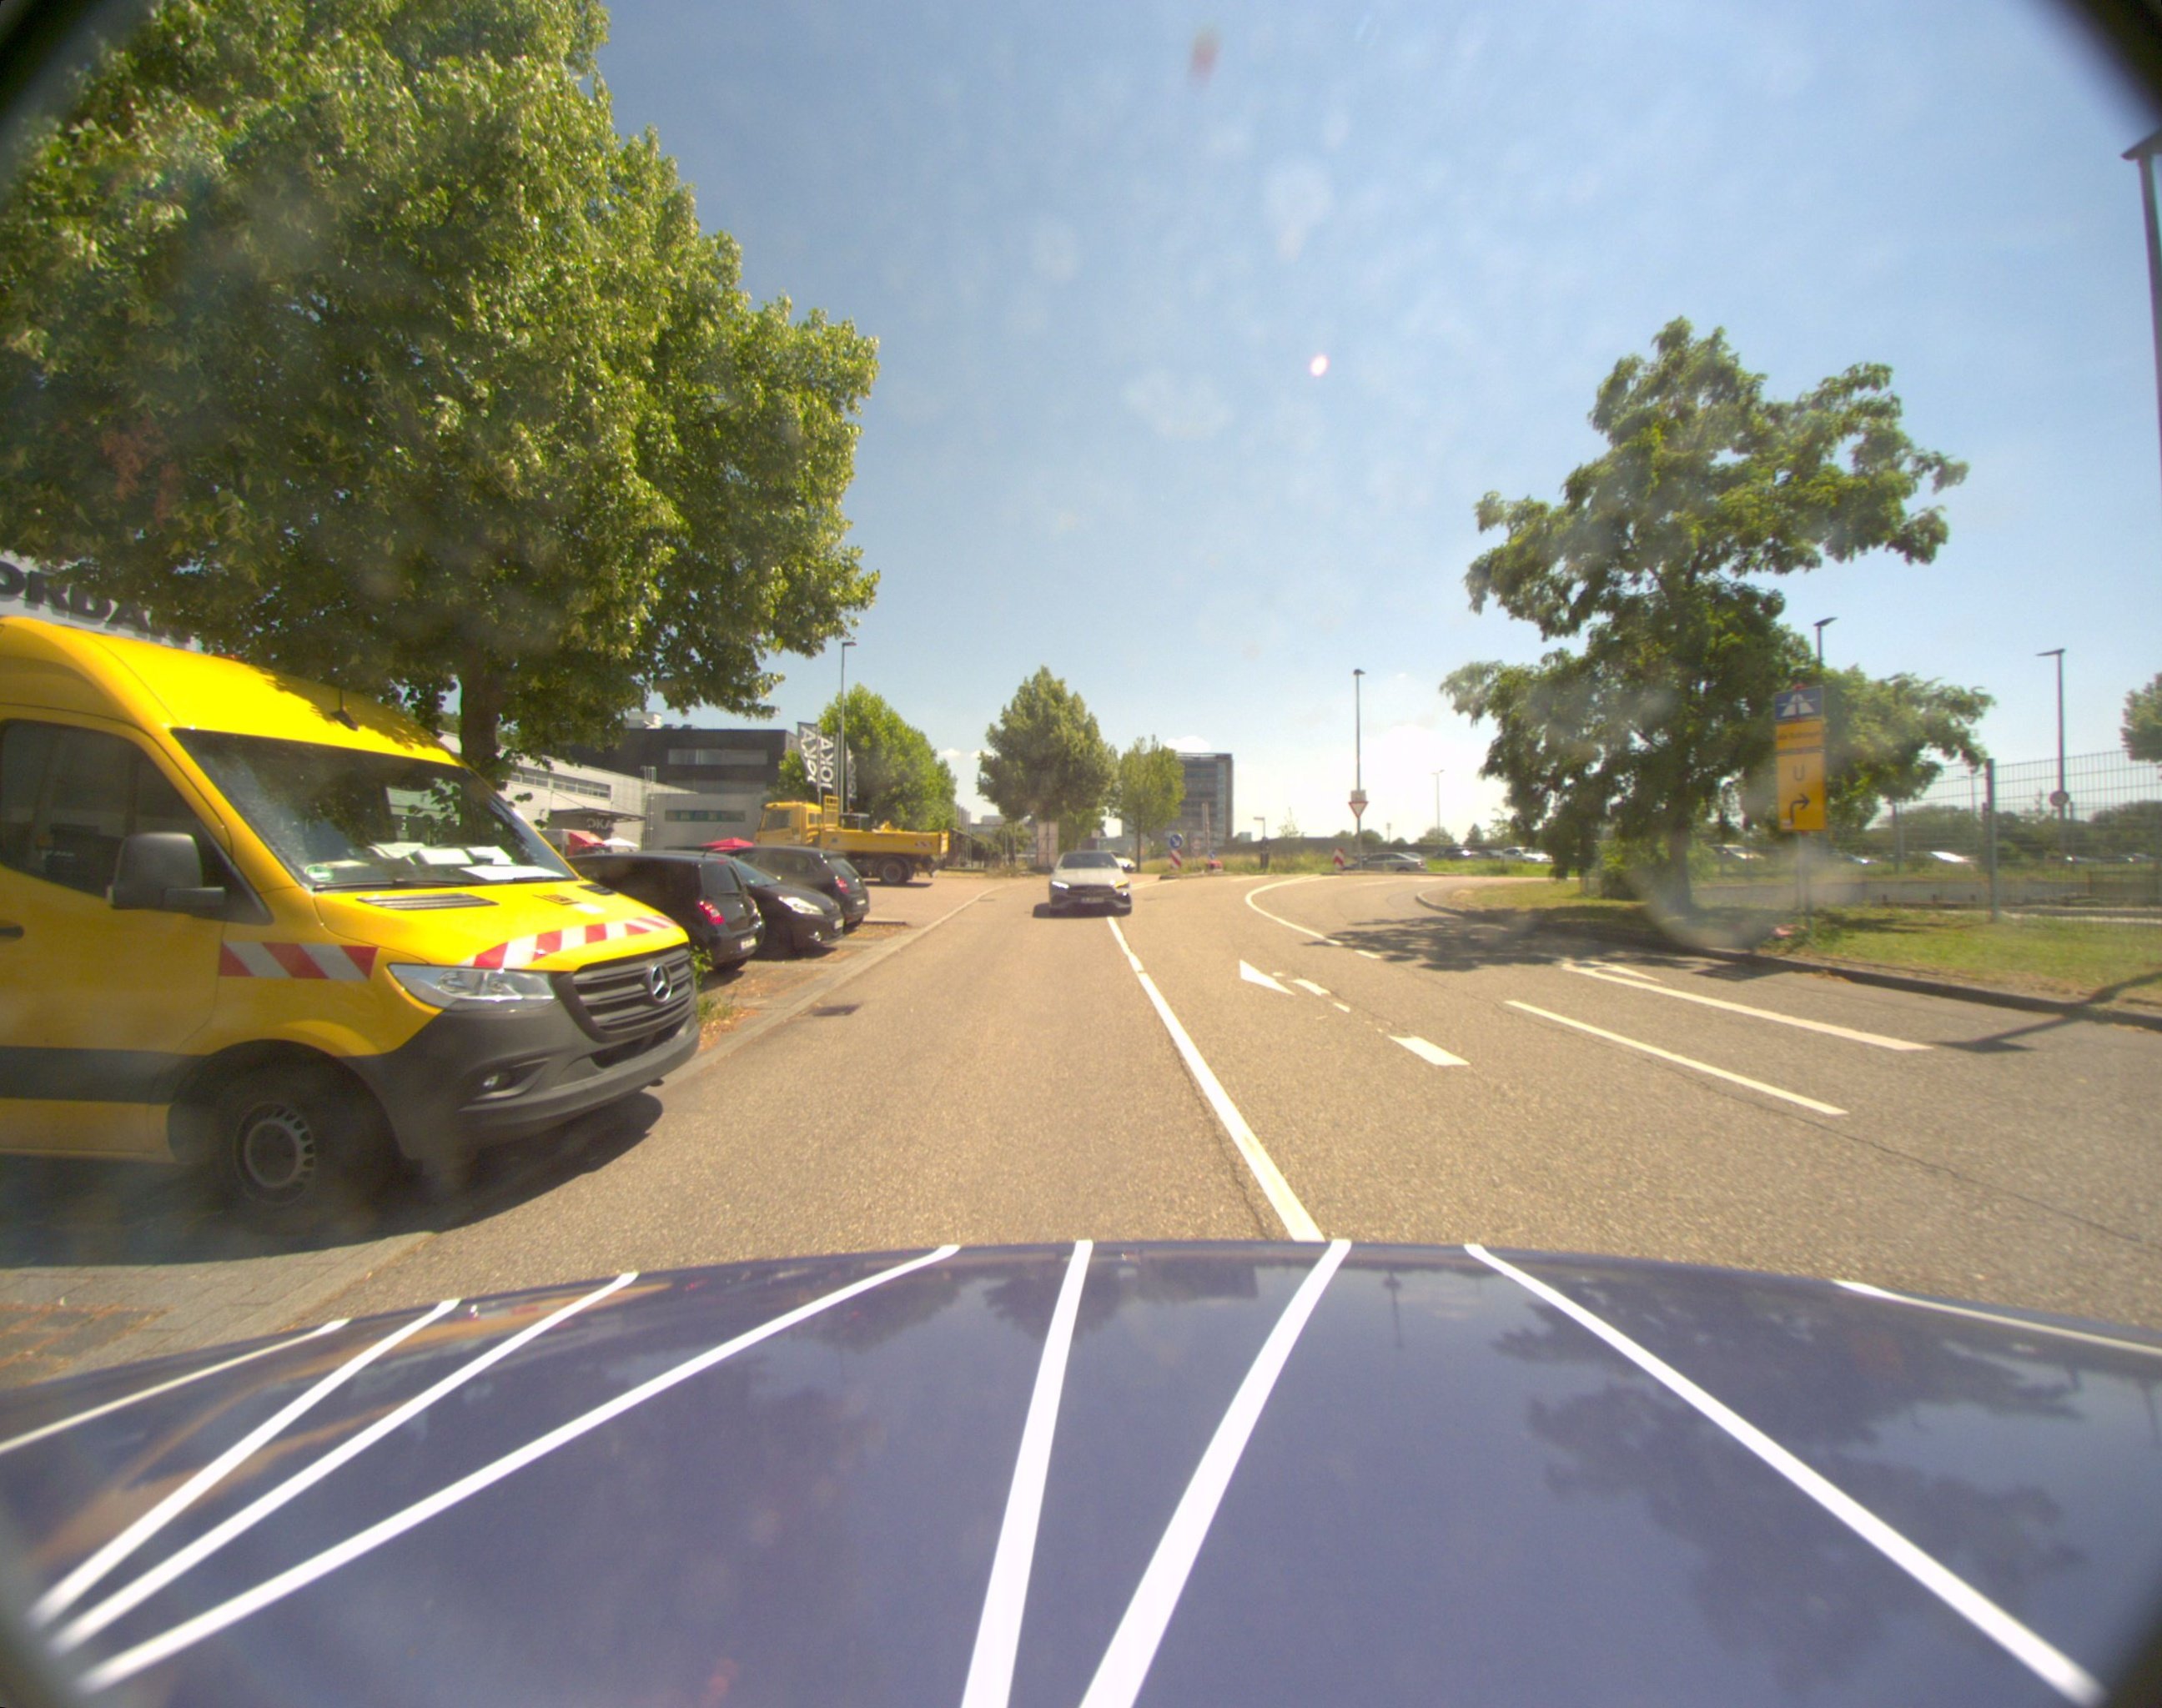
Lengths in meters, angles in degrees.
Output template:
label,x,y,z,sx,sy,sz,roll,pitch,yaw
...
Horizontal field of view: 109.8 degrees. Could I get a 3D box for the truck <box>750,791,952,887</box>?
label,x,y,z,sx,sy,sz,roll,pitch,yaw
truck,-7.929,-0.517,26.884,6.422,3.119,2.593,1,2,-5

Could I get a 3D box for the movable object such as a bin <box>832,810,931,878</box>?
label,x,y,z,sx,sy,sz,roll,pitch,yaw
movable object such as a bin,-8.237,-0.445,32.147,1.998,2.566,6.578,0,1,4

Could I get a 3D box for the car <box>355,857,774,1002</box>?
label,x,y,z,sx,sy,sz,roll,pitch,yaw
car,-5.640,0.783,8.668,3.612,1.470,1.627,0,1,-3

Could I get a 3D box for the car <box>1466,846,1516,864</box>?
label,x,y,z,sx,sy,sz,roll,pitch,yaw
car,31.666,0.105,58.826,1.652,1.354,3.848,0,0,-3

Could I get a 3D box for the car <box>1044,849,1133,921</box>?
label,x,y,z,sx,sy,sz,roll,pitch,yaw
car,0.171,0.658,18.603,1.897,1.376,4.631,1,2,0

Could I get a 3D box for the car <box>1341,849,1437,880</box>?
label,x,y,z,sx,sy,sz,roll,pitch,yaw
car,16.240,0.611,40.137,4.485,1.365,1.678,-3,-5,31

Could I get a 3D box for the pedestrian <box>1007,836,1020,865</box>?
label,x,y,z,sx,sy,sz,roll,pitch,yaw
pedestrian,-3.919,-0.186,44.122,0.578,1.659,0.532,-2,-3,26

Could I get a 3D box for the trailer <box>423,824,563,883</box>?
label,x,y,z,sx,sy,sz,roll,pitch,yaw
trailer,-36.081,0.014,46.784,6.708,3.436,2.178,-1,-3,-3

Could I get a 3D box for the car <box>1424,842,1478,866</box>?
label,x,y,z,sx,sy,sz,roll,pitch,yaw
car,28.730,0.055,59.203,1.776,1.679,4.605,1,-2,-3

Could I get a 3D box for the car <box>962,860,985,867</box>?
label,x,y,z,sx,sy,sz,roll,pitch,yaw
car,-19.184,1.722,135.683,3.842,1.266,1.609,0,0,-3

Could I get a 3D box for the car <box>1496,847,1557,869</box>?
label,x,y,z,sx,sy,sz,roll,pitch,yaw
car,28.251,0.281,48.303,1.573,1.289,3.879,-2,-2,-1

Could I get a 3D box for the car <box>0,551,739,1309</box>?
label,x,y,z,sx,sy,sz,roll,pitch,yaw
car,-5.148,0.181,3.817,5.794,2.716,2.000,3,-1,0

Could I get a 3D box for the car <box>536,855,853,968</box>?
label,x,y,z,sx,sy,sz,roll,pitch,yaw
car,-5.441,0.777,11.069,3.781,1.498,1.590,0,1,-3

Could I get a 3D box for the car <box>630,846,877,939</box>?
label,x,y,z,sx,sy,sz,roll,pitch,yaw
car,-5.710,0.643,13.561,3.670,1.454,1.627,2,1,-1

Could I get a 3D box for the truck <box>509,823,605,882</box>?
label,x,y,z,sx,sy,sz,roll,pitch,yaw
truck,-32.342,-0.058,46.987,4.343,3.430,2.158,-1,-3,-3

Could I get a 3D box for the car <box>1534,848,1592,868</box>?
label,x,y,z,sx,sy,sz,roll,pitch,yaw
car,30.723,0.271,48.538,1.500,1.174,3.271,-2,-2,-2
